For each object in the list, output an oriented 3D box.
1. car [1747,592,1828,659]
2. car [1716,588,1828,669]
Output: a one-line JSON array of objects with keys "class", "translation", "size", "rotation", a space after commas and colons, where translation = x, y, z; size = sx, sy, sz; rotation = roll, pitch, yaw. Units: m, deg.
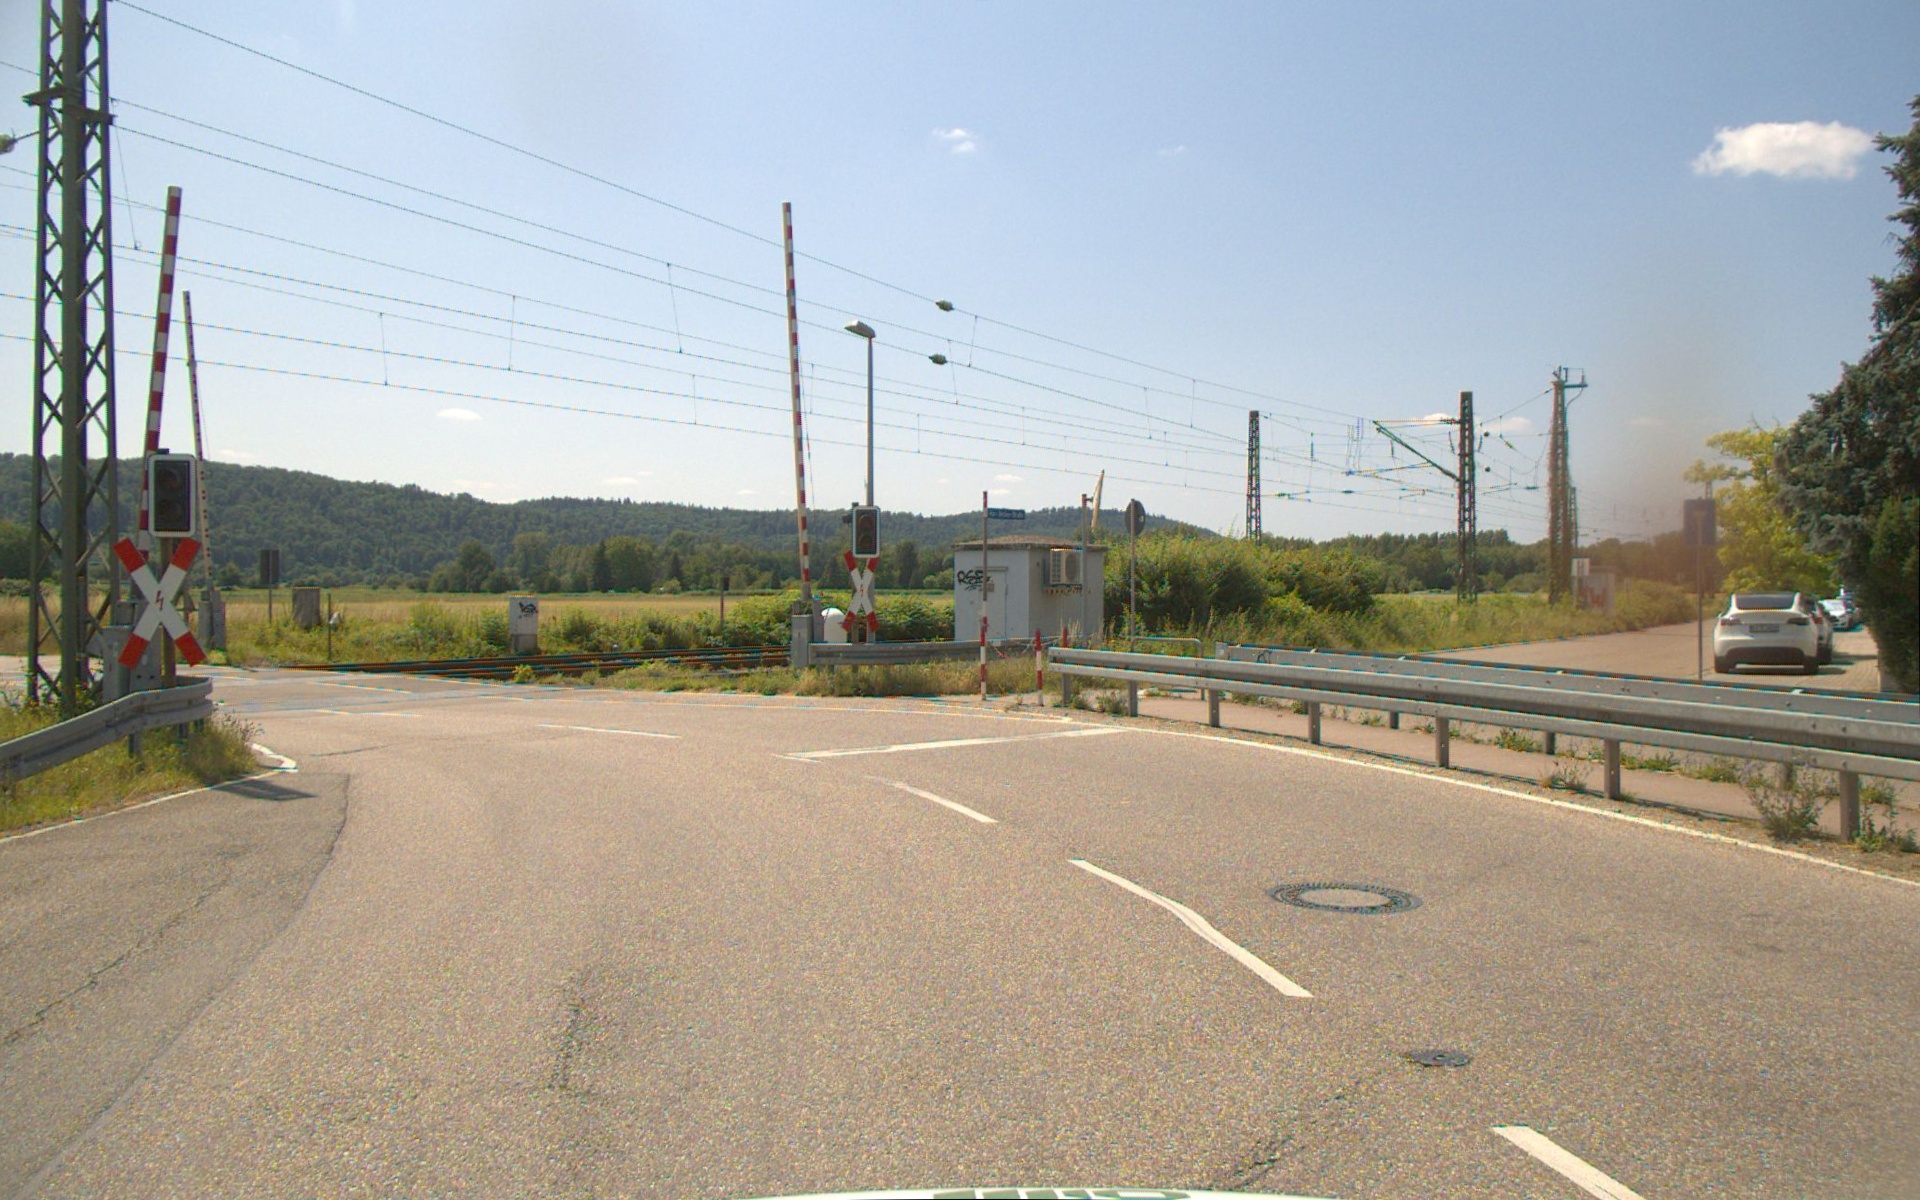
[{"class": "car", "translation": [19.581, 0.573, 39.068], "size": [1.614, 1.480, 3.994], "rotation": [1, 0, 28]}, {"class": "car", "translation": [16.846, 0.528, 34.232], "size": [1.955, 1.536, 4.449], "rotation": [0, 1, 27]}]
